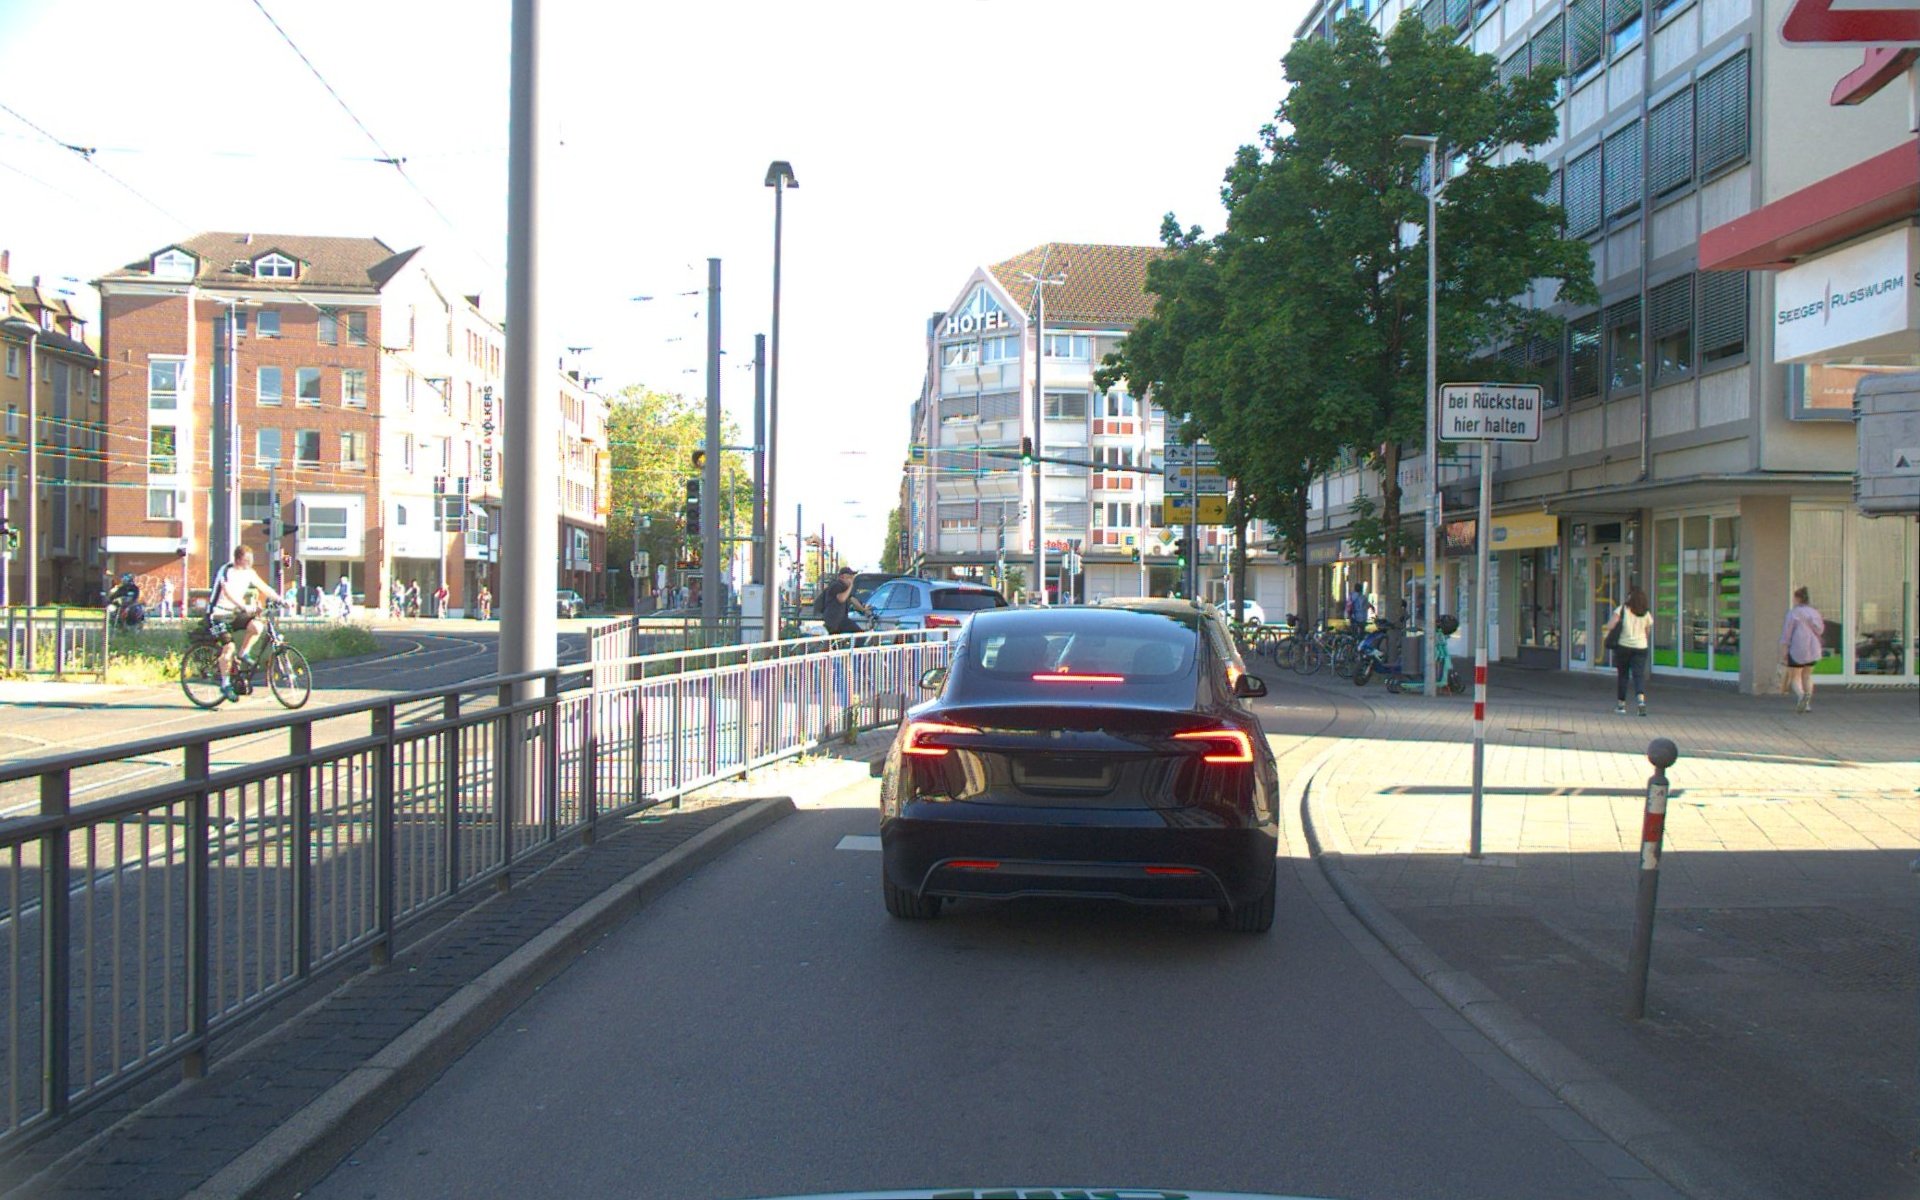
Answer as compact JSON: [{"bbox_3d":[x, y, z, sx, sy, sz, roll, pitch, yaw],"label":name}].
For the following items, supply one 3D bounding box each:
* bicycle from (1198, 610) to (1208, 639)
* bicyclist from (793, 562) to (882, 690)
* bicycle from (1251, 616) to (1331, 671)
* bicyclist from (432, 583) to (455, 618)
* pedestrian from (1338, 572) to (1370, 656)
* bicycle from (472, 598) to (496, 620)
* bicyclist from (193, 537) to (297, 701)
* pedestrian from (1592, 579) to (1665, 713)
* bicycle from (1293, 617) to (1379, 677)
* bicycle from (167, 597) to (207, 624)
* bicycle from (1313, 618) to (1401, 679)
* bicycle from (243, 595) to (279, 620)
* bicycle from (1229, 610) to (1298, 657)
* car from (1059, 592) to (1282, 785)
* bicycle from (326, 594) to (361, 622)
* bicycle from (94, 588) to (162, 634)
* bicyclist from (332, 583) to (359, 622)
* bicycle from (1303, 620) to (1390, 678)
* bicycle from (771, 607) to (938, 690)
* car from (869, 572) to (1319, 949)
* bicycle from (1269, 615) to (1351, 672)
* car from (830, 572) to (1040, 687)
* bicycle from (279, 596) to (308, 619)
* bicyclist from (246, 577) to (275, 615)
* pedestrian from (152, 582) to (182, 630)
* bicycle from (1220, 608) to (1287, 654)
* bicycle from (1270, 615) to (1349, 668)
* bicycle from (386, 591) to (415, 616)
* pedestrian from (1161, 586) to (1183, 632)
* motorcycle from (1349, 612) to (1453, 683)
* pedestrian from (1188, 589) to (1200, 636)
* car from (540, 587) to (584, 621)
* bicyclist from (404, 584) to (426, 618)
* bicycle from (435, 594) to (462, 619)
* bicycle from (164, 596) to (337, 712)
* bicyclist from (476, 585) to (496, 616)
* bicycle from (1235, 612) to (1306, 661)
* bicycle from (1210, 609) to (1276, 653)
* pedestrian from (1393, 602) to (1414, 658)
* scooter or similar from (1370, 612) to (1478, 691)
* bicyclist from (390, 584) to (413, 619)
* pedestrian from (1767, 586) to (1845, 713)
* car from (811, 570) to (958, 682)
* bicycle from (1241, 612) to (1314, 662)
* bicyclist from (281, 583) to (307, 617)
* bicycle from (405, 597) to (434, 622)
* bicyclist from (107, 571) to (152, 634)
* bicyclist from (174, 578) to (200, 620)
[{"bbox_3d":[9.191,0.921,62.624,0.325,1.052,1.257,1,0,7],"label":"bicycle"},{"bbox_3d":[-1.642,0.338,22.061,0.753,1.657,0.964,1,-1,-39],"label":"bicyclist"},{"bbox_3d":[6.882,0.907,34.387,1.620,1.118,0.349,1,-1,-11],"label":"bicycle"},{"bbox_3d":[-23.702,0.003,75.905,0.767,1.590,0.746,0,0,1],"label":"bicyclist"},{"bbox_3d":[9.761,0.337,40.964,0.648,2.049,0.579,1,-1,1],"label":"pedestrian"},{"bbox_3d":[-24.557,0.446,85.405,0.518,1.107,2.225,1,0,1],"label":"bicycle"},{"bbox_3d":[-8.006,0.203,18.546,0.734,1.790,0.759,1,-1,11],"label":"bicyclist"},{"bbox_3d":[9.124,0.606,22.586,0.895,1.783,1.038,0,0,22],"label":"pedestrian"},{"bbox_3d":[7.273,0.907,31.978,1.620,1.118,0.349,1,-1,-11],"label":"bicycle"},{"bbox_3d":[-28.265,0.383,60.515,0.437,0.988,2.246,1,0,-1],"label":"bicycle"},{"bbox_3d":[7.474,0.916,31.135,1.620,1.118,0.349,1,-1,-11],"label":"bicycle"},{"bbox_3d":[-28.503,0.318,67.477,0.513,0.988,2.246,1,0,-1],"label":"bicycle"},{"bbox_3d":[7.422,0.817,40.449,1.616,1.118,0.350,1,-1,1],"label":"bicycle"},{"bbox_3d":[1.836,0.678,14.936,1.714,1.480,4.003,1,0,6],"label":"car"},{"bbox_3d":[-25.115,0.339,67.402,0.526,1.107,2.225,1,0,1],"label":"bicycle"},{"bbox_3d":[-20.693,0.272,41.162,0.449,1.112,2.202,1,0,3],"label":"bicycle"},{"bbox_3d":[-25.113,0.102,67.611,0.767,1.590,0.746,1,-1,1],"label":"bicyclist"},{"bbox_3d":[7.377,0.930,31.555,1.620,1.079,0.349,1,-1,-11],"label":"bicycle"},{"bbox_3d":[-1.405,0.651,22.386,2.313,1.072,0.622,1,-1,-39],"label":"bicycle"},{"bbox_3d":[0.678,0.653,8.683,1.791,1.481,4.002,1,0,4],"label":"car"},{"bbox_3d":[7.090,0.884,33.502,1.620,1.118,0.349,1,-1,-11],"label":"bicycle"},{"bbox_3d":[-0.491,0.443,26.532,1.859,1.691,4.125,1,0,-25],"label":"car"},{"bbox_3d":[-29.726,0.327,73.765,0.396,0.998,1.695,1,0,7],"label":"bicycle"},{"bbox_3d":[-28.518,-0.157,67.454,0.880,1.529,0.696,1,-1,-1],"label":"bicyclist"},{"bbox_3d":[-31.205,0.227,65.114,0.767,1.852,0.746,1,-1,1],"label":"pedestrian"},{"bbox_3d":[7.357,0.773,41.494,1.616,1.118,0.350,0,0,1],"label":"bicycle"},{"bbox_3d":[7.493,0.885,35.457,1.616,1.118,0.350,1,-1,1],"label":"bicycle"},{"bbox_3d":[-25.127,0.143,74.303,0.518,1.107,2.284,0,0,1],"label":"bicycle"},{"bbox_3d":[7.972,0.341,62.137,0.685,1.691,0.777,1,-1,-1],"label":"pedestrian"},{"bbox_3d":[7.806,0.838,29.314,1.673,1.194,0.541,1,-1,-3],"label":"motorcycle"},{"bbox_3d":[8.844,0.472,62.490,0.393,1.740,0.528,1,-1,6],"label":"pedestrian"},{"bbox_3d":[-21.762,0.218,90.553,1.663,1.762,3.704,1,0,-3],"label":"car"},{"bbox_3d":[-25.370,0.032,76.960,0.767,1.590,0.746,0,0,1],"label":"bicyclist"},{"bbox_3d":[-23.662,0.285,76.526,0.518,1.107,2.225,0,0,1],"label":"bicycle"},{"bbox_3d":[-7.951,0.592,18.536,1.809,1.244,0.486,1,-1,11],"label":"bicycle"},{"bbox_3d":[-24.497,0.012,85.548,0.767,1.590,0.746,1,-1,1],"label":"bicyclist"},{"bbox_3d":[7.393,0.864,39.435,1.616,1.118,0.350,1,-1,1],"label":"bicycle"},{"bbox_3d":[7.287,0.798,42.587,1.616,1.118,0.350,1,-1,1],"label":"bicycle"},{"bbox_3d":[10.930,0.736,40.777,0.381,1.367,0.513,1,-1,1],"label":"pedestrian"},{"bbox_3d":[7.658,0.837,27.301,1.610,1.236,0.644,1,-1,30],"label":"scooter or similar"},{"bbox_3d":[-25.136,0.056,74.468,0.767,1.590,0.746,0,0,1],"label":"bicyclist"},{"bbox_3d":[11.664,0.674,22.828,0.871,1.696,0.808,1,-1,23],"label":"pedestrian"},{"bbox_3d":[-1.560,0.484,32.625,1.962,2.049,3.981,0,0,-17],"label":"car"},{"bbox_3d":[7.378,0.863,38.408,1.616,1.118,0.350,1,-1,1],"label":"bicycle"},{"bbox_3d":[-29.725,0.005,73.782,0.689,1.496,0.973,0,0,7],"label":"bicyclist"},{"bbox_3d":[-25.292,0.448,77.436,0.518,1.107,2.284,1,0,1],"label":"bicycle"},{"bbox_3d":[-20.703,0.069,41.246,0.769,1.554,0.589,1,-1,2],"label":"bicyclist"},{"bbox_3d":[-28.258,-0.036,60.456,0.620,1.529,0.696,1,-1,-1],"label":"bicyclist"}]
